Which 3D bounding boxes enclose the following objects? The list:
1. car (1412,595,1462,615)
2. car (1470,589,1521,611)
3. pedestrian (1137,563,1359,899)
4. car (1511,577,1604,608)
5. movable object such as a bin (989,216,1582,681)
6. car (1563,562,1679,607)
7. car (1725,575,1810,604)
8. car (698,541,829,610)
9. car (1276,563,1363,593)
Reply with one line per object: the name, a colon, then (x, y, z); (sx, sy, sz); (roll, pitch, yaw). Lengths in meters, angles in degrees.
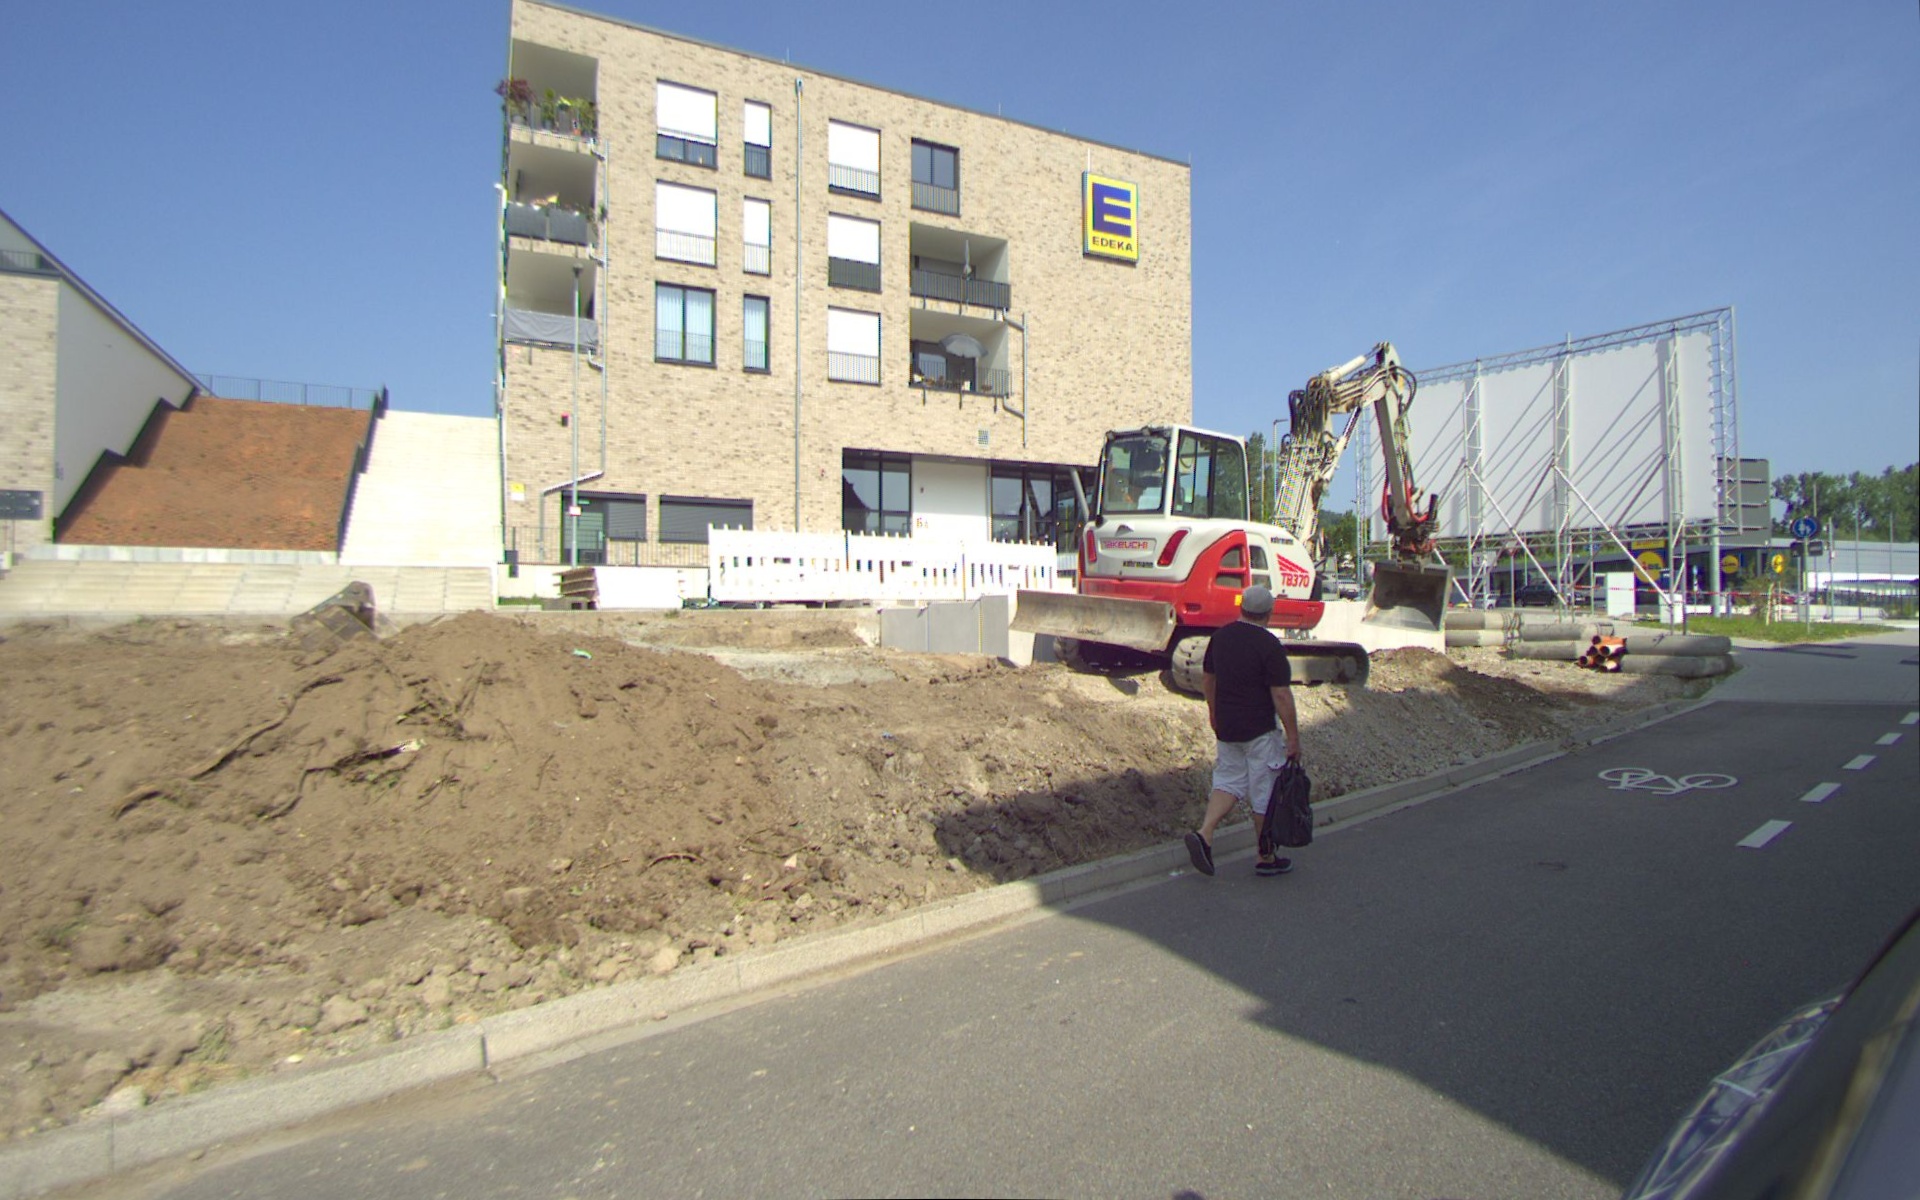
car: (40.768, 0.399, 86.536); (3.708, 1.595, 1.765); (0, -4, -24)
car: (43.169, 0.016, 81.603); (3.708, 1.595, 1.668); (0, -4, -24)
pedestrian: (1.615, 0.680, 5.729); (0.706, 1.705, 0.890); (0, -3, -40)
car: (37.043, -0.442, 62.934); (1.882, 1.550, 4.867); (0, -4, -19)
movable object such as a bin: (4.114, -1.234, 11.635); (7.653, 3.905, 2.300); (0, -4, -37)
car: (42.283, -0.906, 64.972); (2.017, 2.415, 6.100); (0, -4, -21)
car: (52.942, -0.634, 66.427); (1.746, 1.595, 4.017); (2, -5, -38)
car: (-4.712, -0.554, 23.964); (1.567, 1.514, 3.410); (-1, 1, -40)
car: (20.561, -1.263, 58.046); (1.819, 1.575, 4.830); (3, 0, -24)
